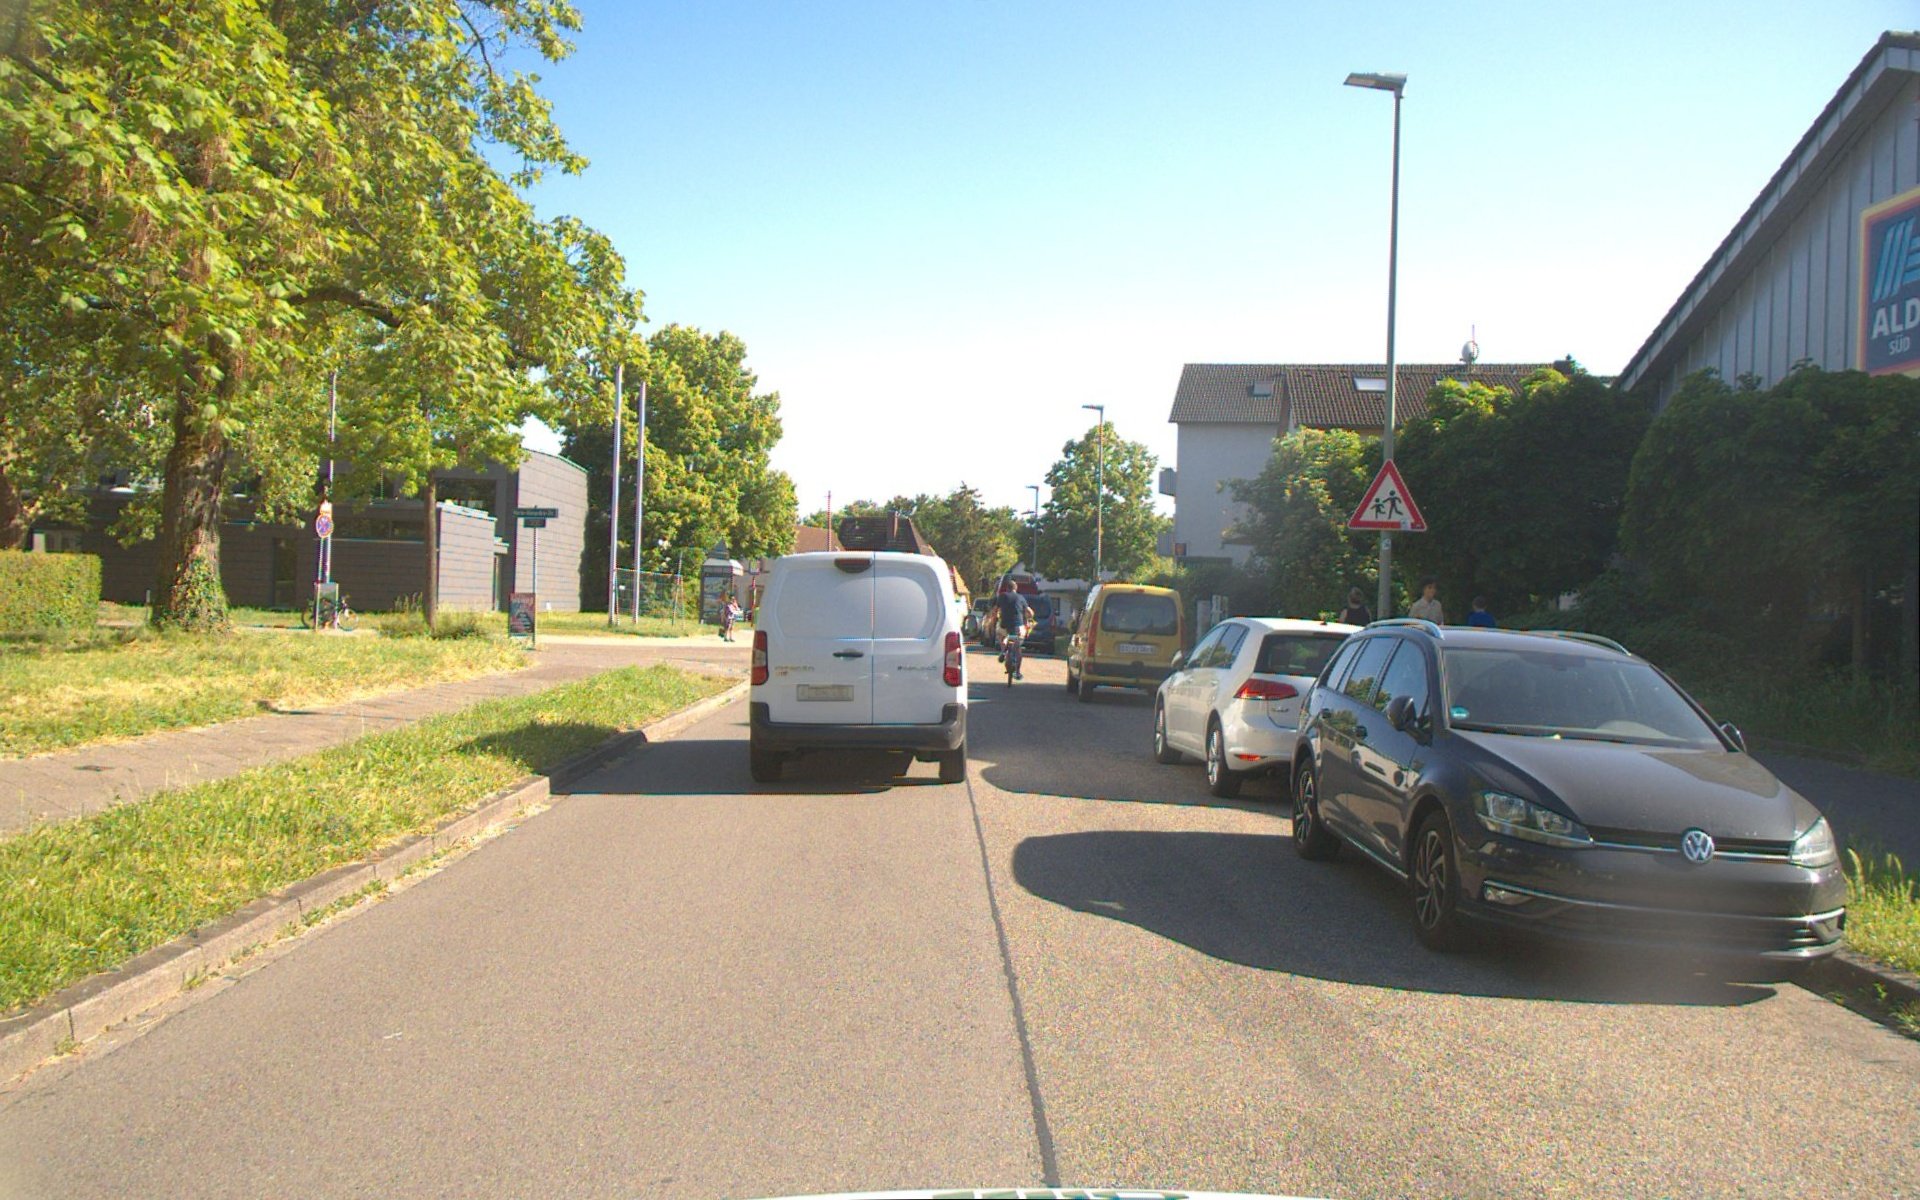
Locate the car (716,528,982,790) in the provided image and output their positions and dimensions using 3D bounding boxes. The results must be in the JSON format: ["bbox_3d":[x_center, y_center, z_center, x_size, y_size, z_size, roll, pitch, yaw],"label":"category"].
[{"bbox_3d":[-0.842,0.436,14.683,1.953,1.914,4.289,2,0,0],"label":"car"}]

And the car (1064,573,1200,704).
[{"bbox_3d":[2.663,0.576,26.424,1.689,1.869,4.000,2,0,0],"label":"car"}]

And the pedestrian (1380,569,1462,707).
[{"bbox_3d":[6.517,0.533,23.418,0.779,1.894,0.873,2,0,-9],"label":"pedestrian"}]

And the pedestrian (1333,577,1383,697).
[{"bbox_3d":[5.632,0.519,23.425,0.555,1.665,0.547,2,0,4],"label":"pedestrian"}]

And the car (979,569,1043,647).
[{"bbox_3d":[1.813,0.321,60.326,1.829,2.607,4.765,4,-1,-2],"label":"car"}]

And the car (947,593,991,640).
[{"bbox_3d":[0.414,0.795,79.450,1.768,2.104,3.998,4,-1,-2],"label":"car"}]

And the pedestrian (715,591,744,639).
[{"bbox_3d":[-7.394,0.477,53.044,0.500,1.470,0.637,5,0,32],"label":"pedestrian"}]

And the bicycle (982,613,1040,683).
[{"bbox_3d":[0.895,0.816,28.503,0.770,1.158,2.281,0,-1,8],"label":"bicycle"}]

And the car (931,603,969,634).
[{"bbox_3d":[-0.649,1.267,112.345,1.766,1.874,4.003,4,-1,9],"label":"car"}]

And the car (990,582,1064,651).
[{"bbox_3d":[2.105,0.532,53.102,1.770,1.814,3.998,10,-1,-2],"label":"car"}]

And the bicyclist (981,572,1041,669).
[{"bbox_3d":[0.895,0.362,28.597,0.886,1.612,0.967,2,-1,8],"label":"bicyclist"}]

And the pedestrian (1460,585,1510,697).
[{"bbox_3d":[7.935,0.612,25.007,0.555,1.665,0.547,2,0,4],"label":"pedestrian"}]

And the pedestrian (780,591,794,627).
[{"bbox_3d":[-8.875,0.453,84.733,0.608,1.836,0.640,2,-1,-3],"label":"pedestrian"}]

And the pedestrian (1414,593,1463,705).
[{"bbox_3d":[7.236,0.732,25.019,0.555,1.665,0.547,2,0,4],"label":"pedestrian"}]

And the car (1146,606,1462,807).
[{"bbox_3d":[2.887,0.830,14.767,1.790,1.477,3.998,2,0,-3],"label":"car"}]

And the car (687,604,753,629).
[{"bbox_3d":[-15.807,1.103,109.109,3.893,1.454,1.716,2,0,17],"label":"car"}]

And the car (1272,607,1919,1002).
[{"bbox_3d":[3.000,0.826,8.763,1.771,1.468,4.362,2,0,-1],"label":"car"}]
